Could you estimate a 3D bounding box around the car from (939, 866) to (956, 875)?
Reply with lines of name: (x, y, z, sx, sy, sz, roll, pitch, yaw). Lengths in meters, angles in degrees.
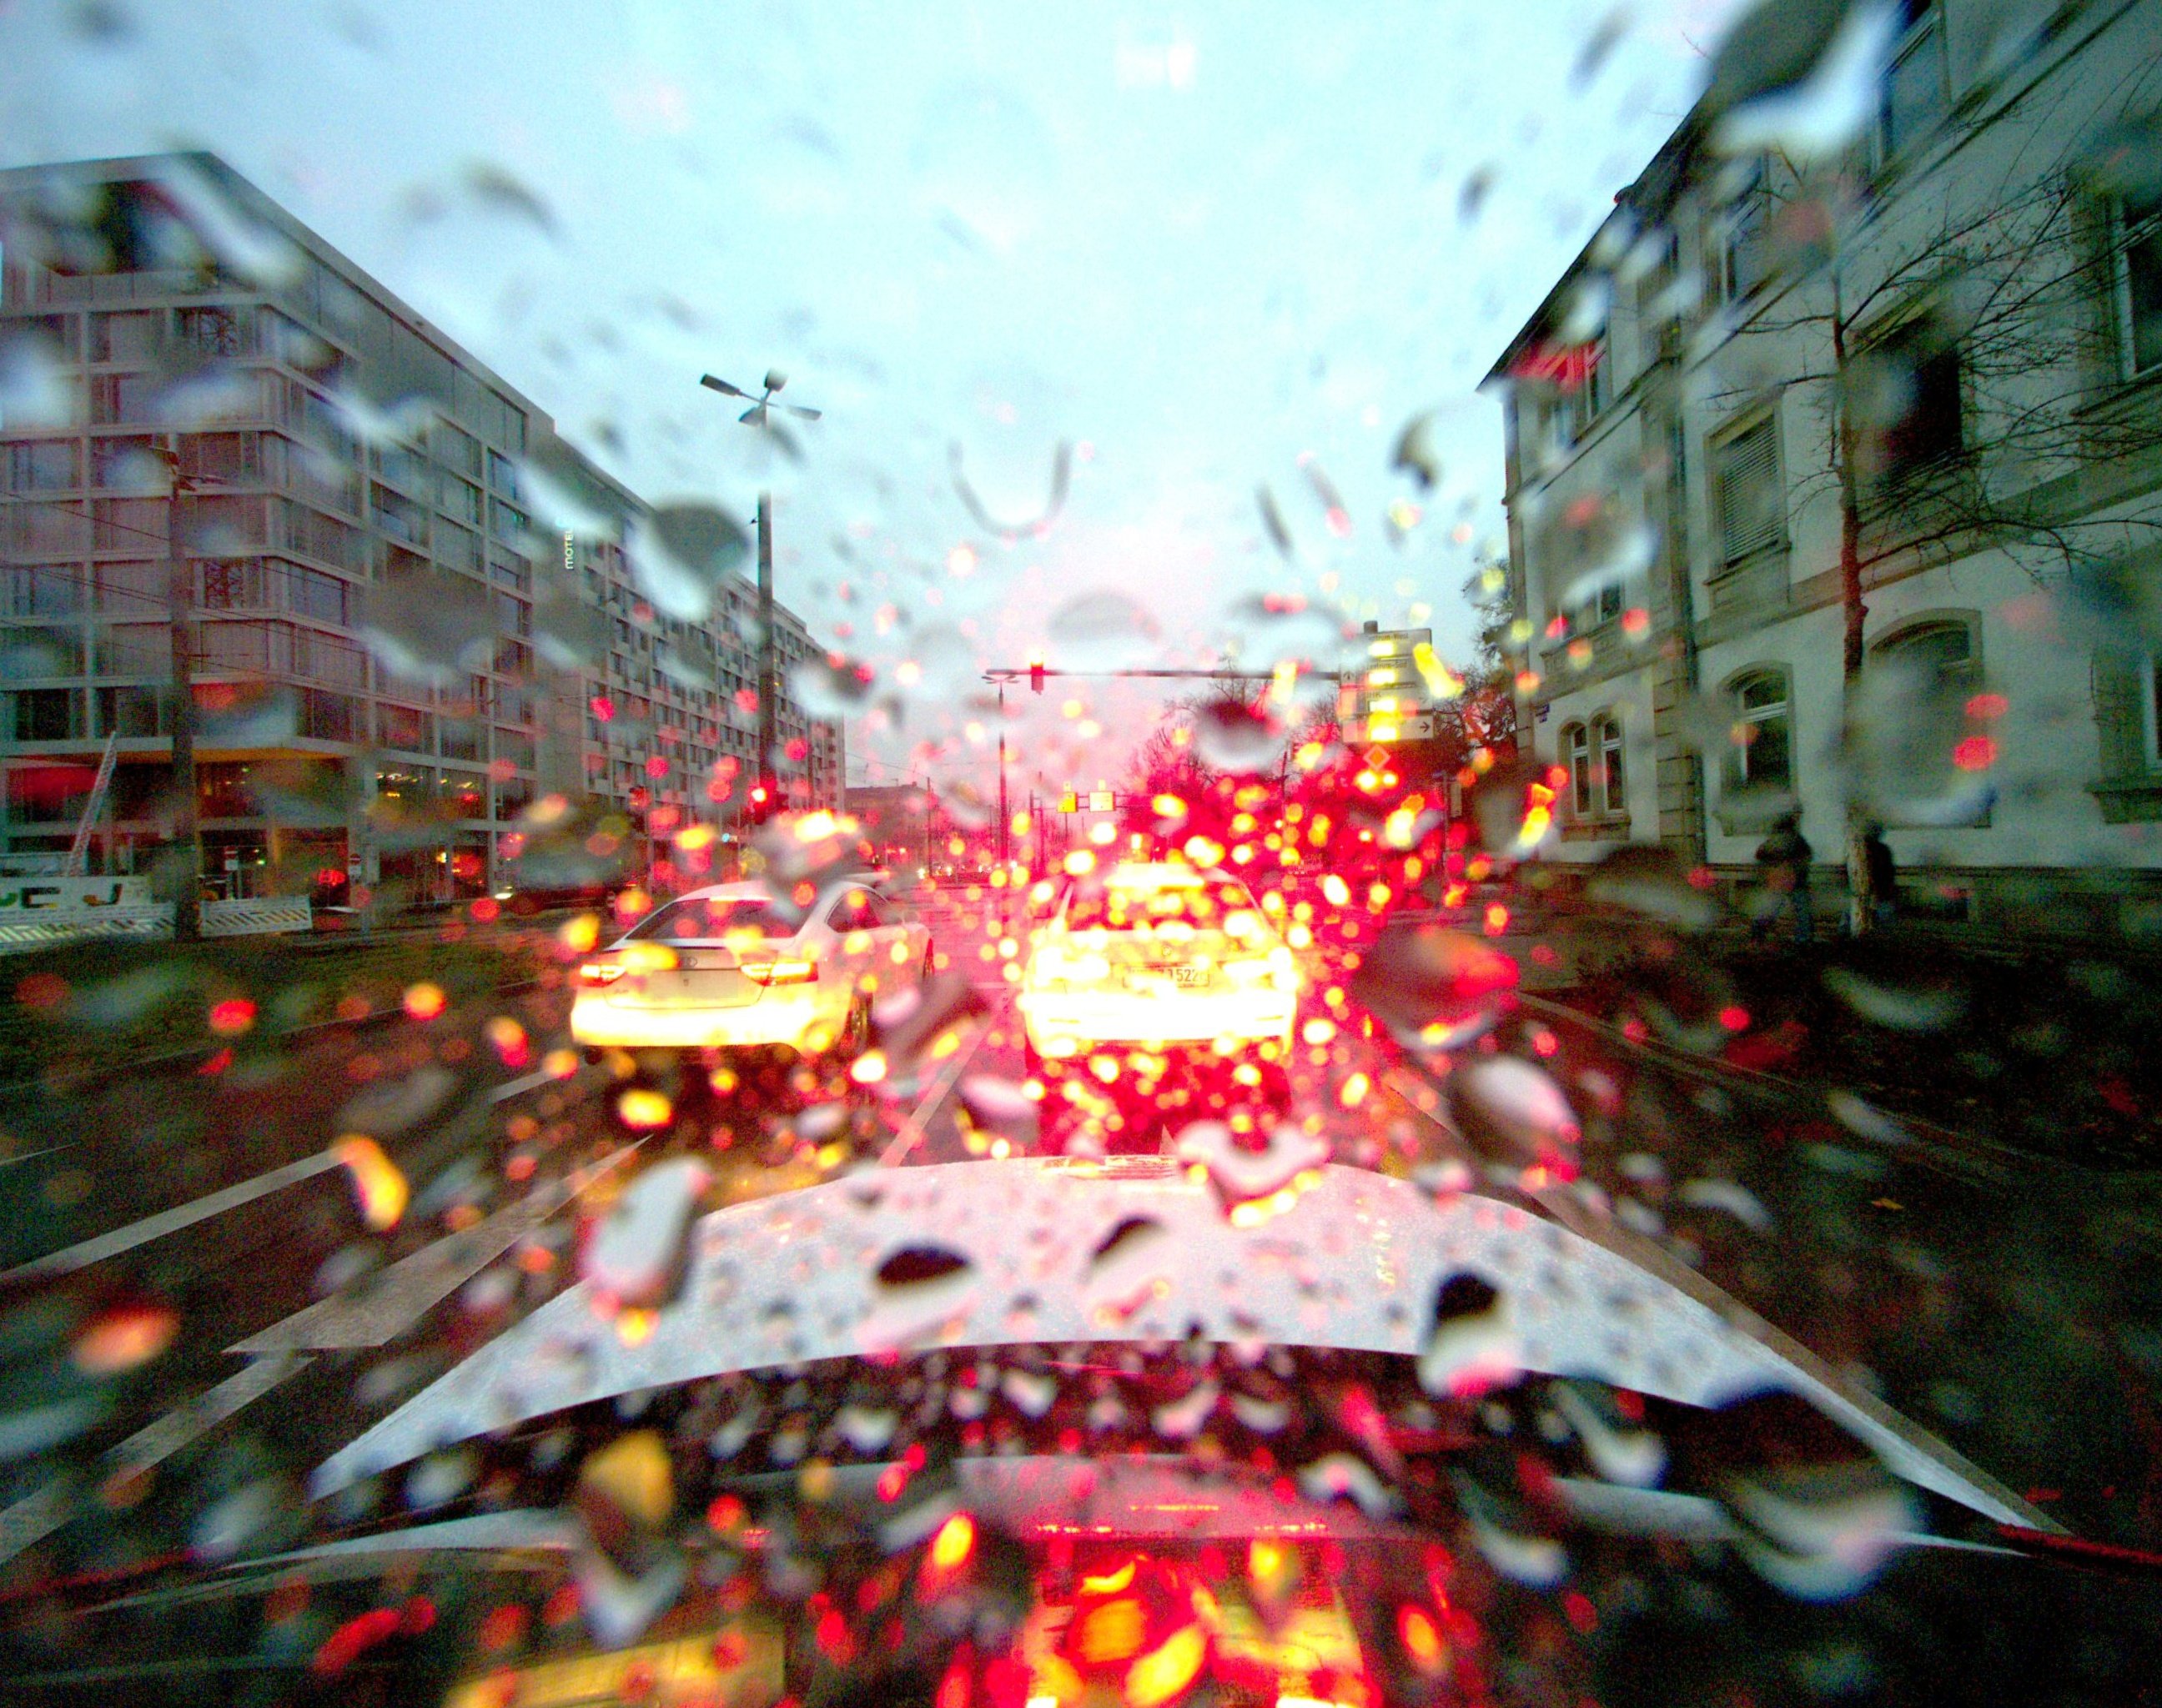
car: (-21.608, 2.668, 131.798, 1.987, 1.462, 5.094, 0, 0, 0)

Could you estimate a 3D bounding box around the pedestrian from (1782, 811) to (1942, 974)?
pedestrian: (8.064, 0.380, 8.465, 0.776, 1.579, 1.015, -1, -1, 13)

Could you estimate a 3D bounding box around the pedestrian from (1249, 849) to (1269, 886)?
pedestrian: (8.989, 0.688, 41.193, 0.714, 1.879, 0.671, 0, -1, -18)

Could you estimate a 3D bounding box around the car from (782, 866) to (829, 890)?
car: (-21.692, 1.889, 64.367, 1.873, 1.789, 4.603, 0, -1, 4)

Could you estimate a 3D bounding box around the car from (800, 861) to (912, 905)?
car: (-9.101, 1.143, 33.192, 4.060, 1.687, 1.957, 0, -1, -3)

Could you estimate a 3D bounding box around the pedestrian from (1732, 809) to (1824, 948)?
pedestrian: (8.743, 0.289, 10.213, 1.017, 1.632, 0.774, 0, -1, -44)

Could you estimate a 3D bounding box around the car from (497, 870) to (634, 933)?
car: (-18.953, 1.679, 30.183, 4.093, 2.123, 1.941, 0, -1, -28)

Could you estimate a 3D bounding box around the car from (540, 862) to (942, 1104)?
car: (-2.460, 0.816, 7.161, 1.754, 1.470, 4.250, 0, -1, 0)

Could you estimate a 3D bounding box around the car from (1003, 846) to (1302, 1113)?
car: (0.417, 0.751, 6.920, 1.754, 1.552, 4.250, 0, -1, 0)

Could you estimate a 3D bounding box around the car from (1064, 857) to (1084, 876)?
car: (-0.775, 1.313, 88.188, 1.986, 2.014, 4.001, 0, -1, 2)

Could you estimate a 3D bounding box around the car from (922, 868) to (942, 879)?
car: (-21.877, 2.810, 119.535, 1.987, 1.462, 5.094, 0, 0, 0)

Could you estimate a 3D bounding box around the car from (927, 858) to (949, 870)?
car: (-18.076, 1.206, 103.075, 1.988, 1.462, 5.090, 0, 0, -2)

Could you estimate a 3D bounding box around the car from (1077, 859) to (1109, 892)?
car: (0.799, 1.367, 53.105, 1.986, 2.014, 4.001, 0, -1, 2)
